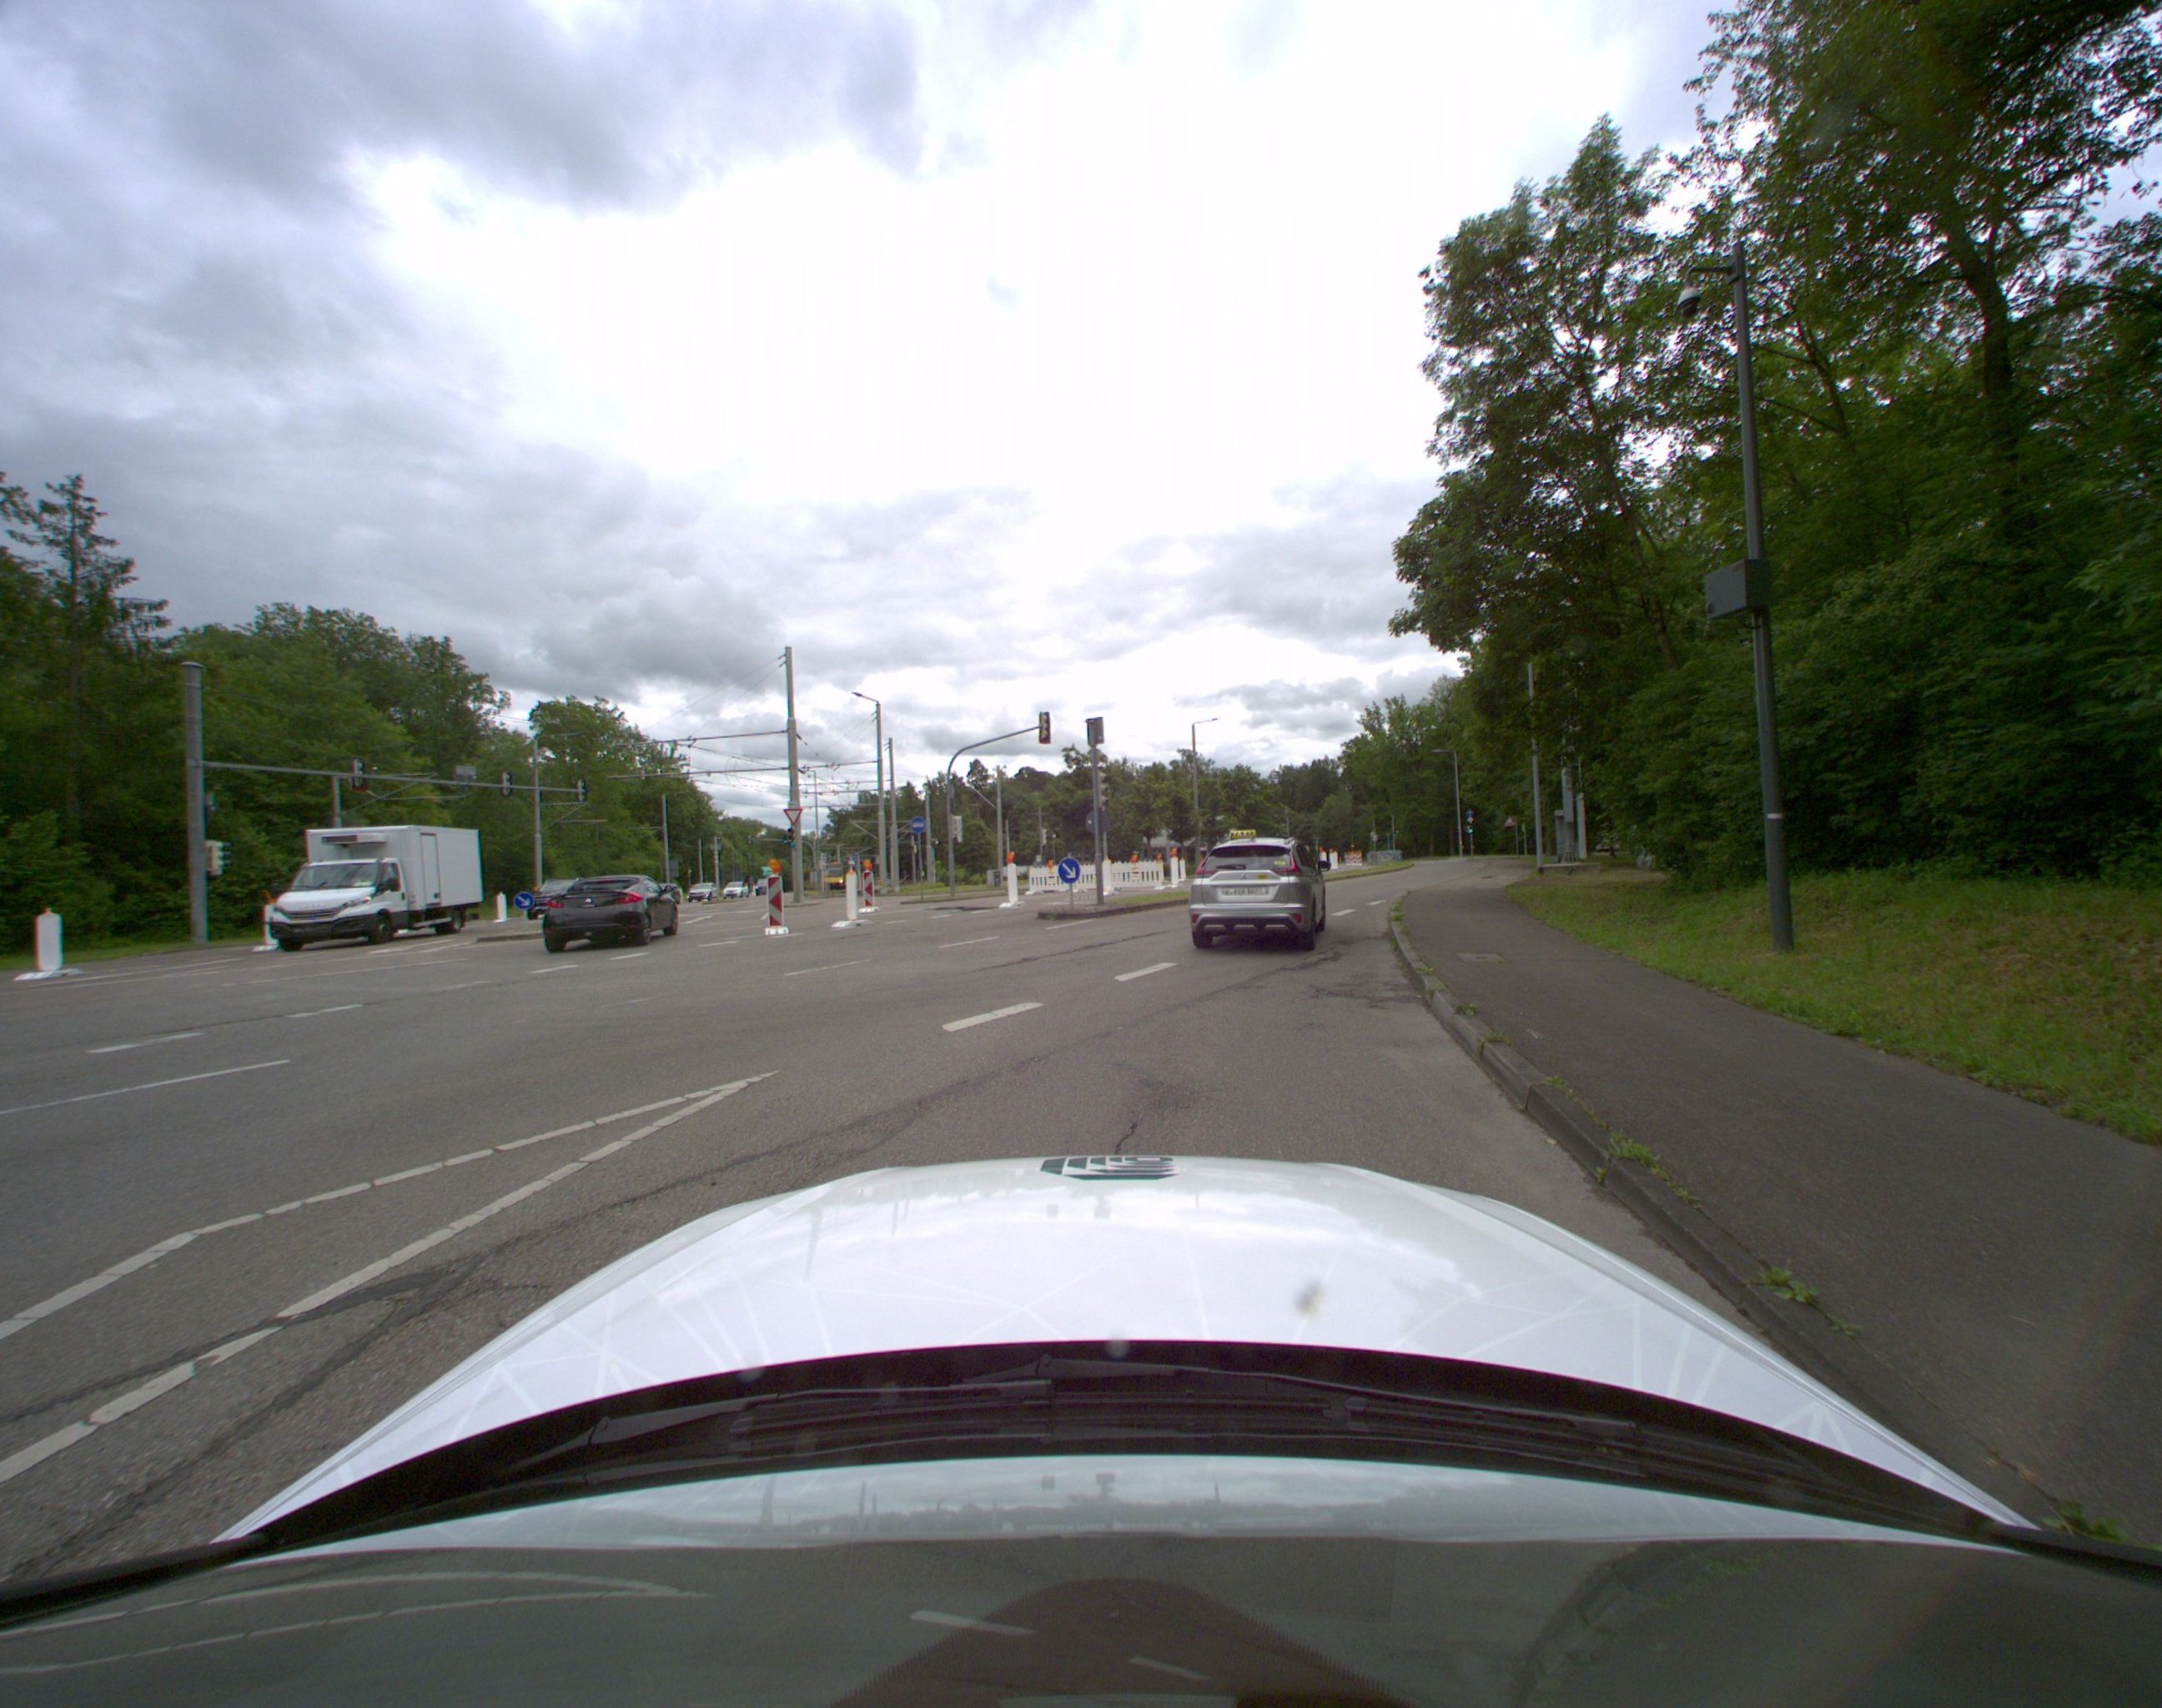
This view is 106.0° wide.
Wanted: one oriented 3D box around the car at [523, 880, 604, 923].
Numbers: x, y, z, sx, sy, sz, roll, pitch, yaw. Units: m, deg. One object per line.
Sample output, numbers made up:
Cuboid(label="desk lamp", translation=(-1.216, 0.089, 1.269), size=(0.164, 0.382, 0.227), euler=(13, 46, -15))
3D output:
Cuboid(label="car", translation=(-24.070, 2.144, 38.067), size=(1.967, 1.750, 4.816), euler=(-3, -1, -18))

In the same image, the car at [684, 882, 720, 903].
Cuboid(label="car", translation=(-32.338, 3.238, 69.638), size=(1.965, 1.607, 4.287), euler=(-3, -1, -15))

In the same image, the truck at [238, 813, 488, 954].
Cuboid(label="truck", translation=(-19.610, 0.805, 22.893), size=(2.455, 3.224, 7.112), euler=(-3, -1, -17))

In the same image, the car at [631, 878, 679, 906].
Cuboid(label="car", translation=(-30.042, 2.642, 57.532), size=(1.965, 1.845, 4.665), euler=(-3, -1, -15))

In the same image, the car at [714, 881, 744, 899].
Cuboid(label="car", translation=(-33.358, 3.418, 77.298), size=(1.965, 1.541, 4.373), euler=(-3, -1, -15))

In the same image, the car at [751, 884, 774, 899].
Cuboid(label="car", translation=(-36.549, 4.246, 93.526), size=(1.965, 1.540, 4.287), euler=(-3, -1, -15))

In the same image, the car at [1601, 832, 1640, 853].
Cuboid(label="car", translation=(44.185, -0.976, 66.653), size=(4.023, 1.536, 1.817), euler=(-2, -1, -44))

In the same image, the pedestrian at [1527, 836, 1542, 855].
Cuboid(label="pedestrian", translation=(36.269, -0.682, 65.121), size=(0.795, 1.506, 0.833), euler=(-2, -1, -45))

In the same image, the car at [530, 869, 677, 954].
Cuboid(label="car", translation=(-9.280, 1.073, 16.118), size=(1.779, 1.361, 3.454), euler=(-3, -1, -19))

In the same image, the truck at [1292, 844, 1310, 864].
Cuboid(label="truck", translation=(39.028, 0.017, 144.624), size=(2.467, 3.287, 8.545), euler=(-3, -1, 11))

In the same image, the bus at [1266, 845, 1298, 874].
Cuboid(label="bus", translation=(27.250, 0.763, 110.899), size=(2.805, 3.603, 12.833), euler=(-3, -1, 8))

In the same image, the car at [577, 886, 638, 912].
Cuboid(label="car", translation=(-28.469, 2.676, 49.128), size=(1.965, 1.361, 4.665), euler=(-3, -1, -15))

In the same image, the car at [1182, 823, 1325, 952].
Cuboid(label="car", translation=(2.907, 0.505, 13.116), size=(1.759, 1.748, 3.798), euler=(-2, -2, 19))
